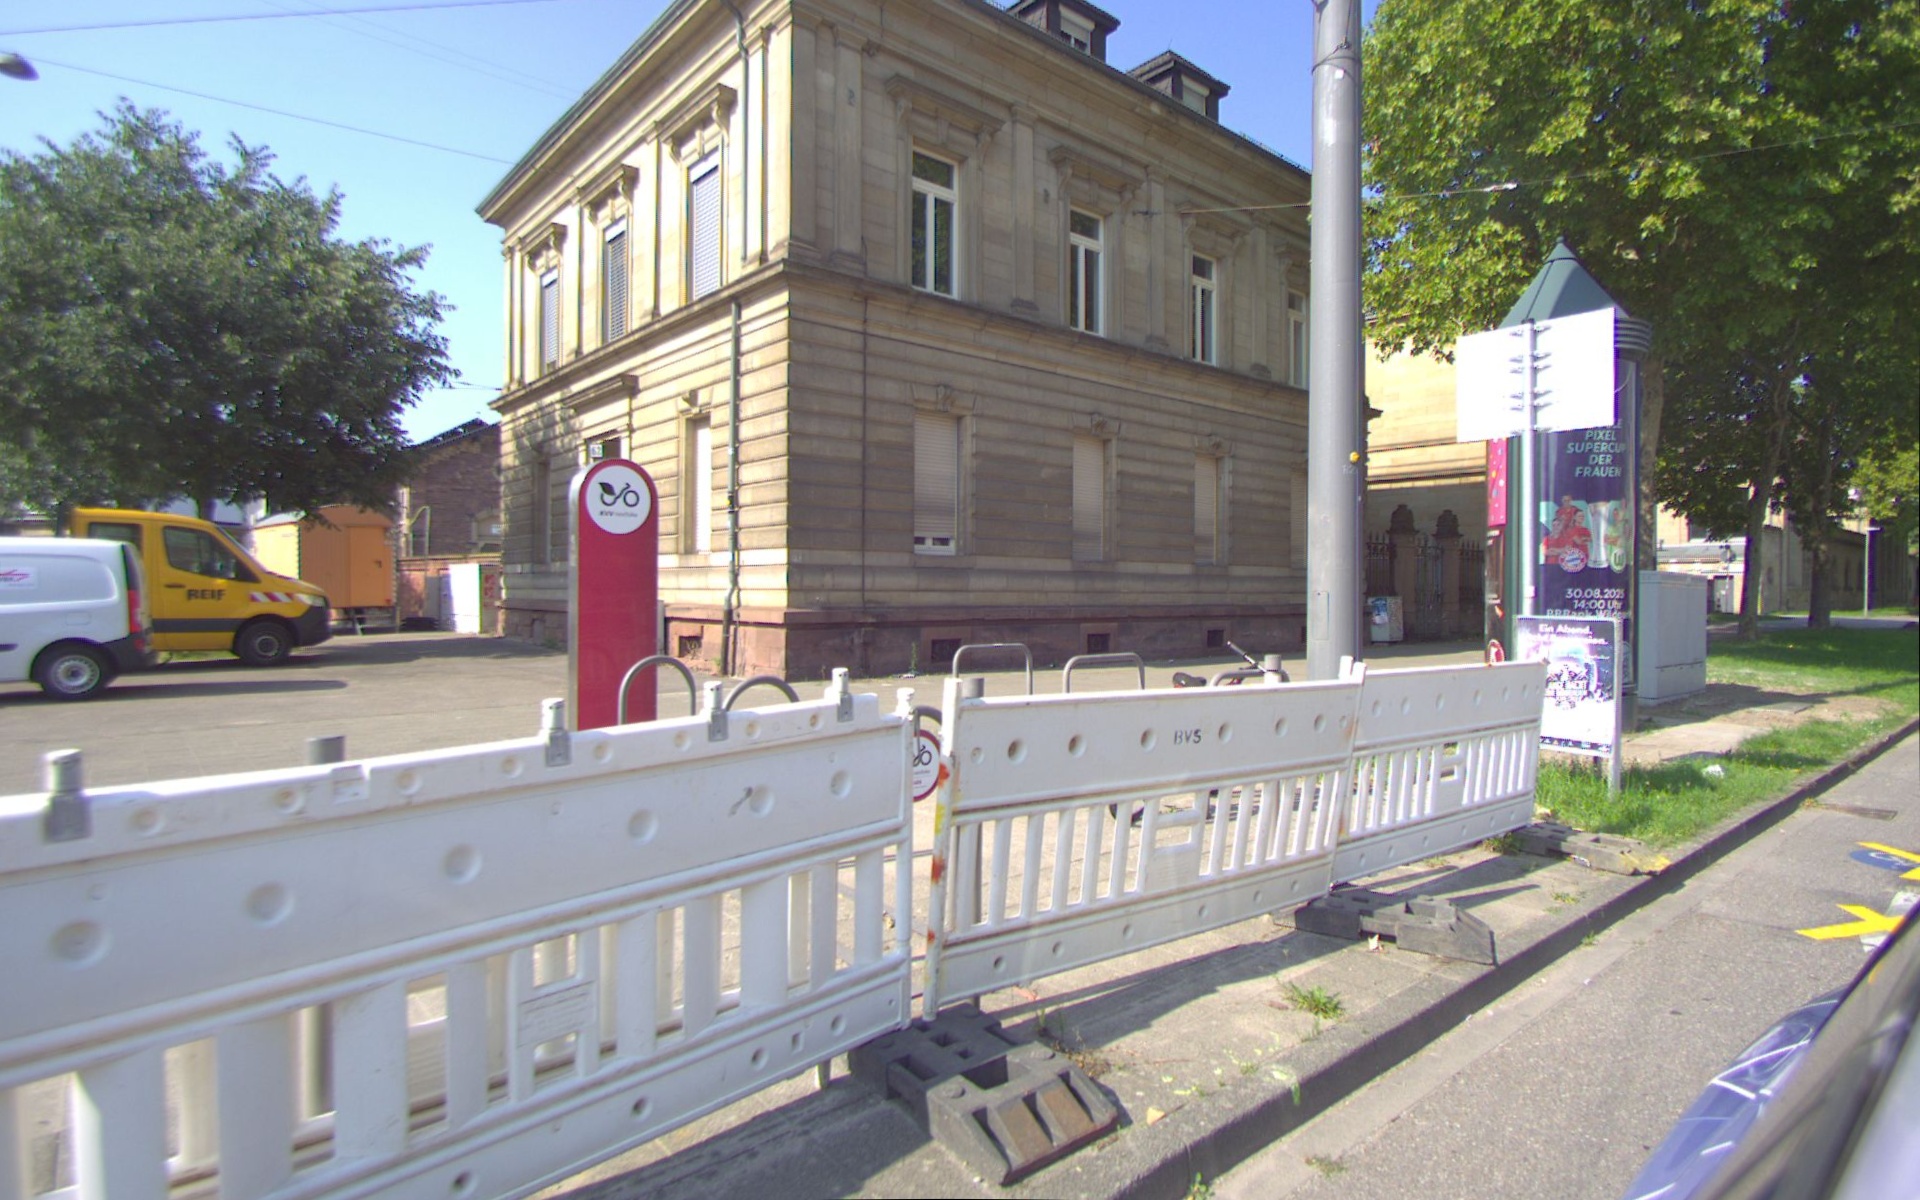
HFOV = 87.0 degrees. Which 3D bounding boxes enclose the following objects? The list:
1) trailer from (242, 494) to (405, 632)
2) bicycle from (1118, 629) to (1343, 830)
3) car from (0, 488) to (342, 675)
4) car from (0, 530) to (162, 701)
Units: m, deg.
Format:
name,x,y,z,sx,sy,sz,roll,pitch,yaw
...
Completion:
name,x,y,z,sx,sy,sz,roll,pitch,yaw
trailer,-15.803,-0.913,25.070,4.107,3.085,2.475,2,2,43
bicycle,1.693,0.726,6.221,1.543,1.019,0.539,-1,2,-40
car,-12.497,-0.270,14.945,2.259,2.453,5.400,1,1,45
car,-11.324,0.135,10.926,4.145,1.805,1.910,-1,2,-36
